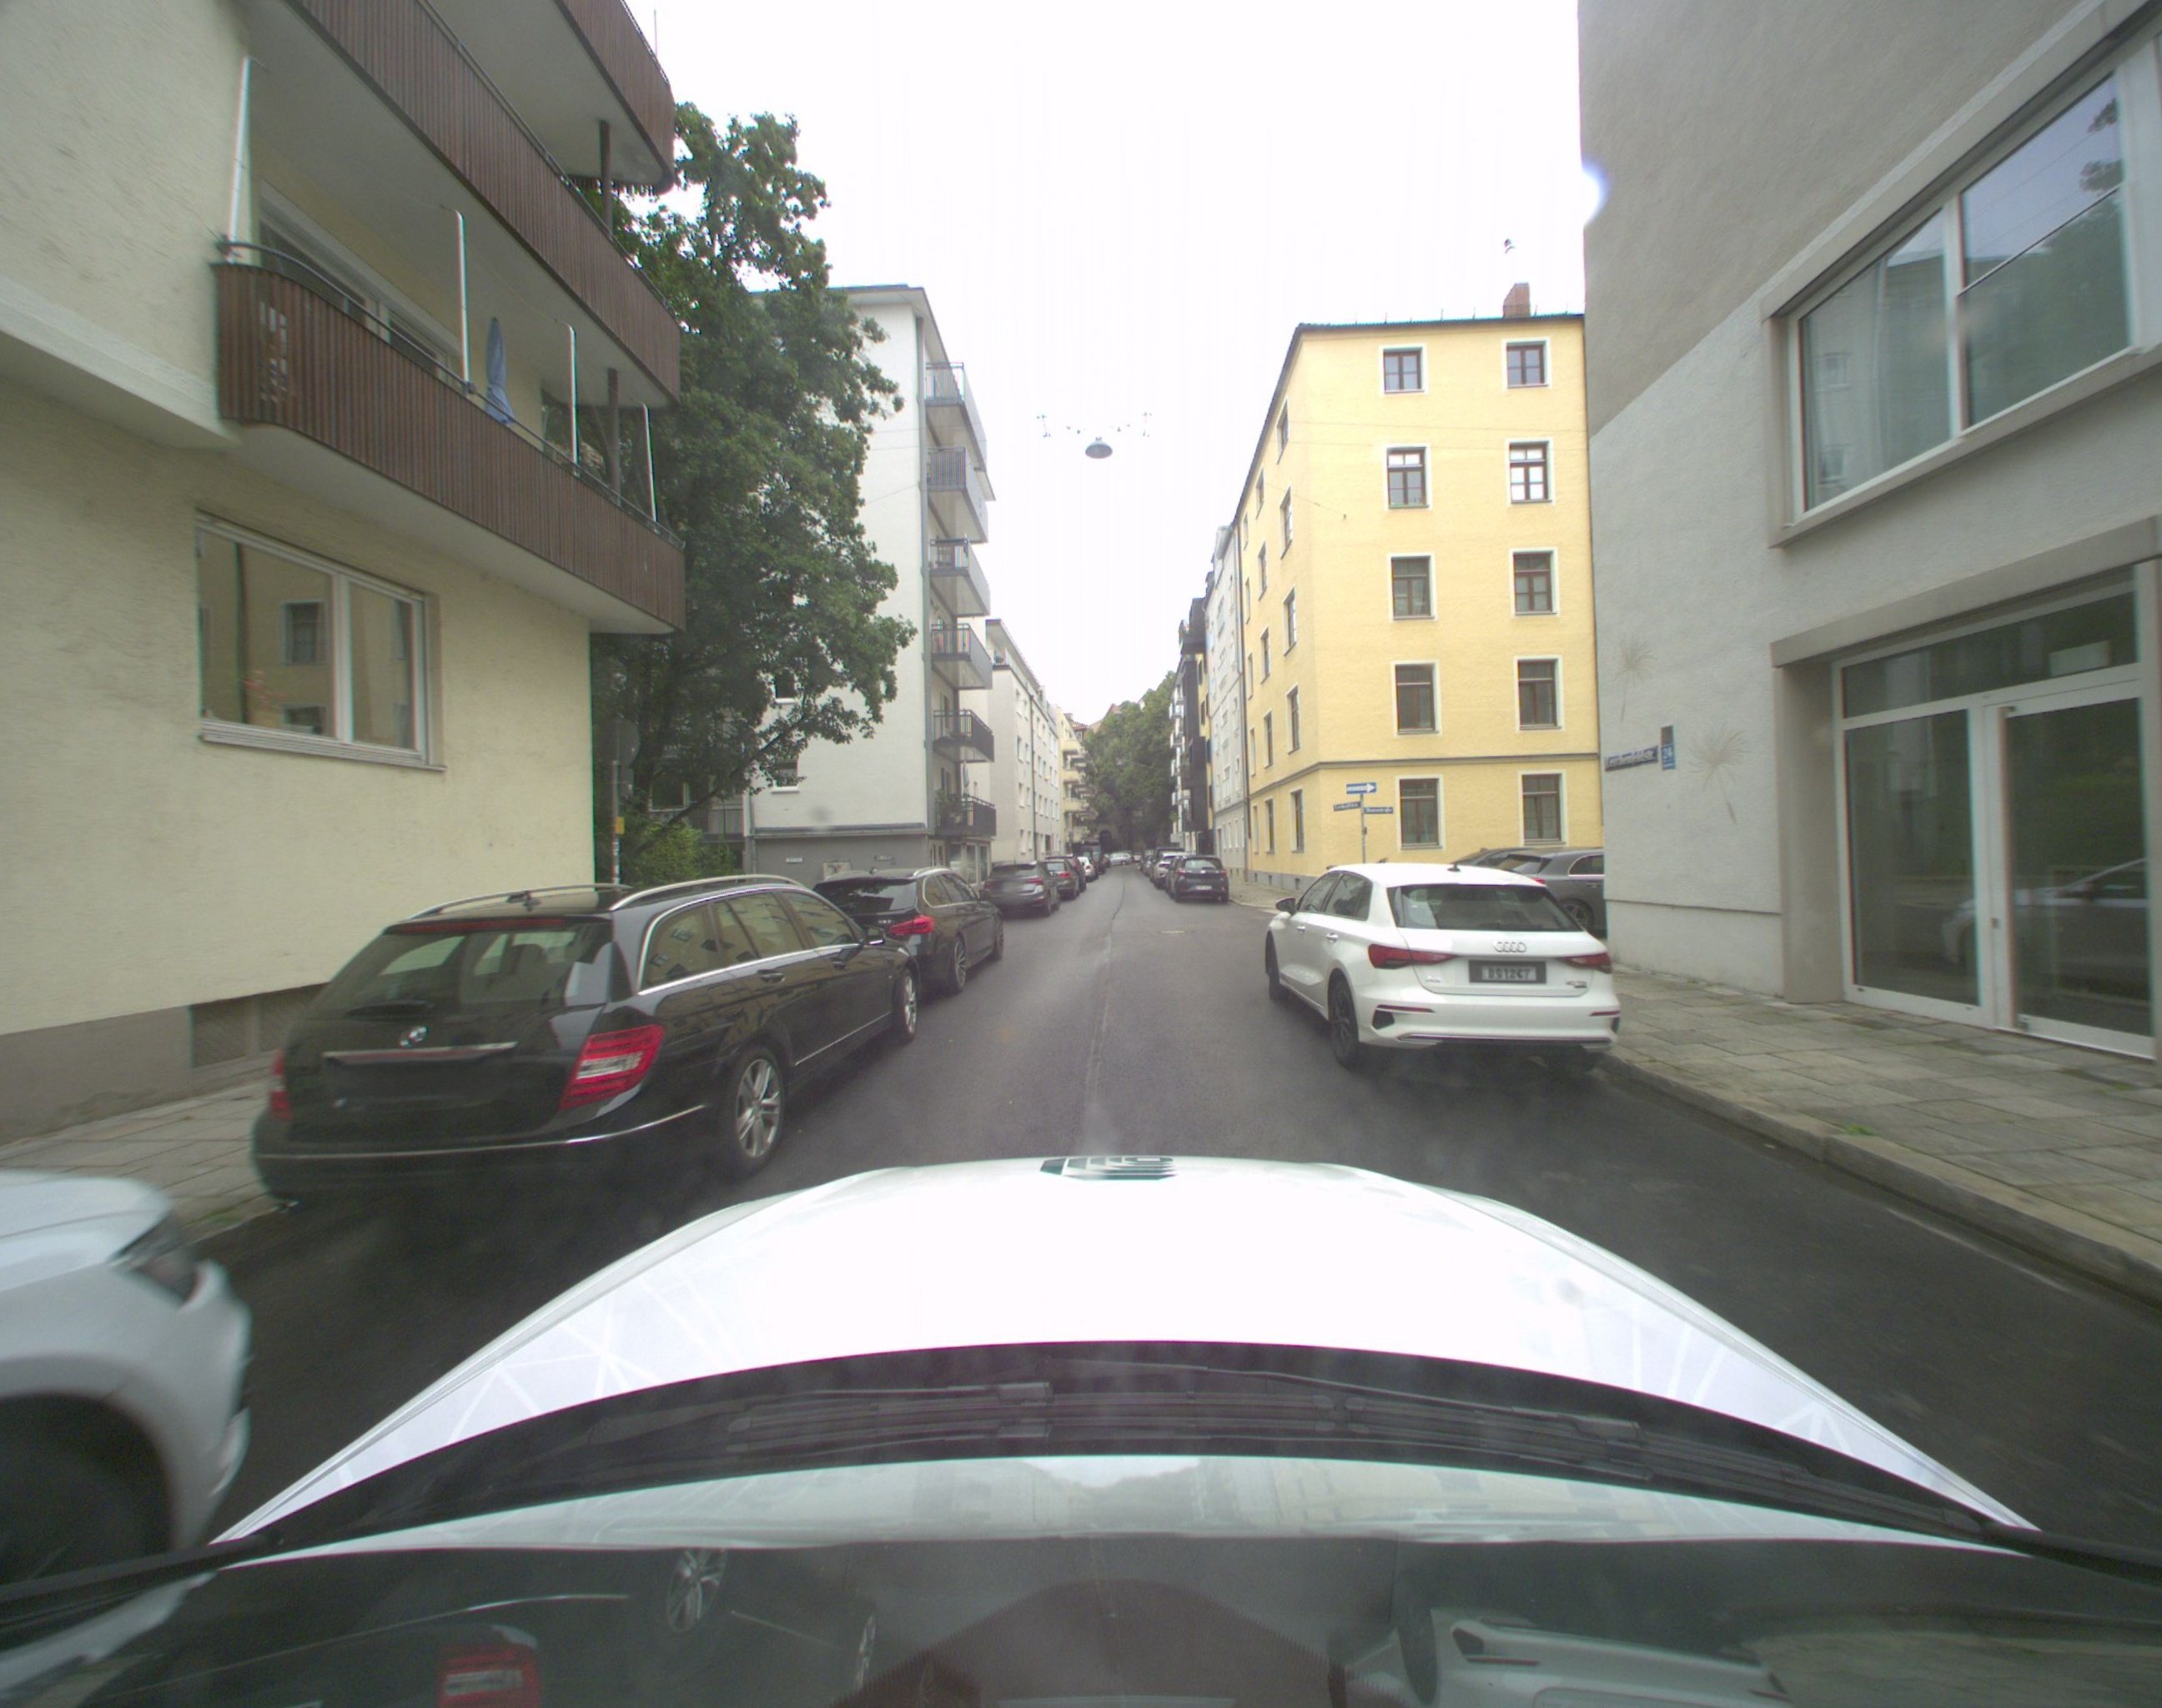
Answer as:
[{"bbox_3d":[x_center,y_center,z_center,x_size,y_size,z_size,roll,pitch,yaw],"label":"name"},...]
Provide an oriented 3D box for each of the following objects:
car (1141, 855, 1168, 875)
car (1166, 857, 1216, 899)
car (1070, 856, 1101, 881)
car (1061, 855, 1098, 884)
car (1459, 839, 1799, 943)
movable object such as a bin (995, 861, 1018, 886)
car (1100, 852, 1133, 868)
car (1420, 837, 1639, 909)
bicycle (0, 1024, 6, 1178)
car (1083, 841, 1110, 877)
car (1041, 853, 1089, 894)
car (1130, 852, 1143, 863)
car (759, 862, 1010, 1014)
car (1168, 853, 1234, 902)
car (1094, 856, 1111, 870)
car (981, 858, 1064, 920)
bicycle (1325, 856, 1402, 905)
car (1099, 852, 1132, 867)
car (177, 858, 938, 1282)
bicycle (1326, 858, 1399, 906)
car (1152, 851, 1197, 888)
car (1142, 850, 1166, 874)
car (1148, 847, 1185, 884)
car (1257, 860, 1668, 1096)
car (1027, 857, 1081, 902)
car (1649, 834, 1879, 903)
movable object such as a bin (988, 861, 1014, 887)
[{"bbox_3d":[5.487,0.804,61.312,1.822,1.454,4.418,1,0,2],"label":"car"},{"bbox_3d":[4.195,0.879,31.494,1.656,1.469,3.822,1,0,4],"label":"car"},{"bbox_3d":[0.310,0.918,53.900,1.770,1.452,4.048,-4,0,2],"label":"car"},{"bbox_3d":[-0.042,0.885,48.817,1.769,1.487,4.523,-4,0,3],"label":"car"},{"bbox_3d":[8.669,0.534,13.184,4.191,1.399,2.000,-2,1,-1],"label":"car"},{"bbox_3d":[-4.226,1.083,46.313,1.042,1.337,0.995,-4,-1,5],"label":"movable object such as a bin"},{"bbox_3d":[4.235,0.729,97.114,3.871,1.584,1.648,-4,0,1],"label":"car"},{"bbox_3d":[10.508,0.442,19.297,4.197,1.494,1.712,-2,-1,0],"label":"car"},{"bbox_3d":[-5.282,0.896,2.821,0.642,1.161,1.790,-3,-1,3],"label":"bicycle"},{"bbox_3d":[1.316,0.399,68.599,1.929,2.801,4.535,-4,0,2],"label":"car"},{"bbox_3d":[-0.647,0.810,35.781,1.770,1.629,4.417,-3,0,2],"label":"car"},{"bbox_3d":[7.798,0.502,113.842,1.636,1.383,3.748,-4,0,2],"label":"car"},{"bbox_3d":[-2.187,0.878,10.430,1.848,1.408,4.387,-3,0,3],"label":"car"},{"bbox_3d":[3.931,0.717,27.239,1.744,1.469,4.346,1,0,2],"label":"car"},{"bbox_3d":[2.316,0.964,87.392,1.636,1.383,3.485,-4,0,2],"label":"car"},{"bbox_3d":[-1.502,0.894,22.250,1.686,1.442,3.946,-3,0,3],"label":"car"},{"bbox_3d":[7.478,0.700,21.594,1.802,1.174,0.505,-3,1,0],"label":"bicycle"},{"bbox_3d":[4.208,0.688,99.090,3.871,1.584,1.648,-4,0,1],"label":"car"},{"bbox_3d":[-2.365,0.829,5.250,1.758,1.483,4.429,-3,0,4],"label":"car"},{"bbox_3d":[7.286,0.714,21.108,1.707,1.139,0.374,-3,1,1],"label":"bicycle"},{"bbox_3d":[4.200,0.656,37.095,1.675,1.567,4.418,1,0,2],"label":"car"},{"bbox_3d":[6.340,0.656,71.184,1.822,1.999,4.418,1,0,2],"label":"car"},{"bbox_3d":[4.638,0.601,44.699,1.822,1.910,4.419,0,0,3],"label":"car"},{"bbox_3d":[2.767,0.779,6.984,1.811,1.408,3.954,-1,0,2],"label":"car"},{"bbox_3d":[-0.928,0.875,29.957,1.687,1.442,3.979,-3,0,1],"label":"car"},{"bbox_3d":[16.184,0.372,19.467,3.958,1.494,1.712,-1,-3,2],"label":"car"},{"bbox_3d":[-4.435,1.091,45.243,1.160,1.337,1.027,-4,-1,5],"label":"movable object such as a bin"}]
